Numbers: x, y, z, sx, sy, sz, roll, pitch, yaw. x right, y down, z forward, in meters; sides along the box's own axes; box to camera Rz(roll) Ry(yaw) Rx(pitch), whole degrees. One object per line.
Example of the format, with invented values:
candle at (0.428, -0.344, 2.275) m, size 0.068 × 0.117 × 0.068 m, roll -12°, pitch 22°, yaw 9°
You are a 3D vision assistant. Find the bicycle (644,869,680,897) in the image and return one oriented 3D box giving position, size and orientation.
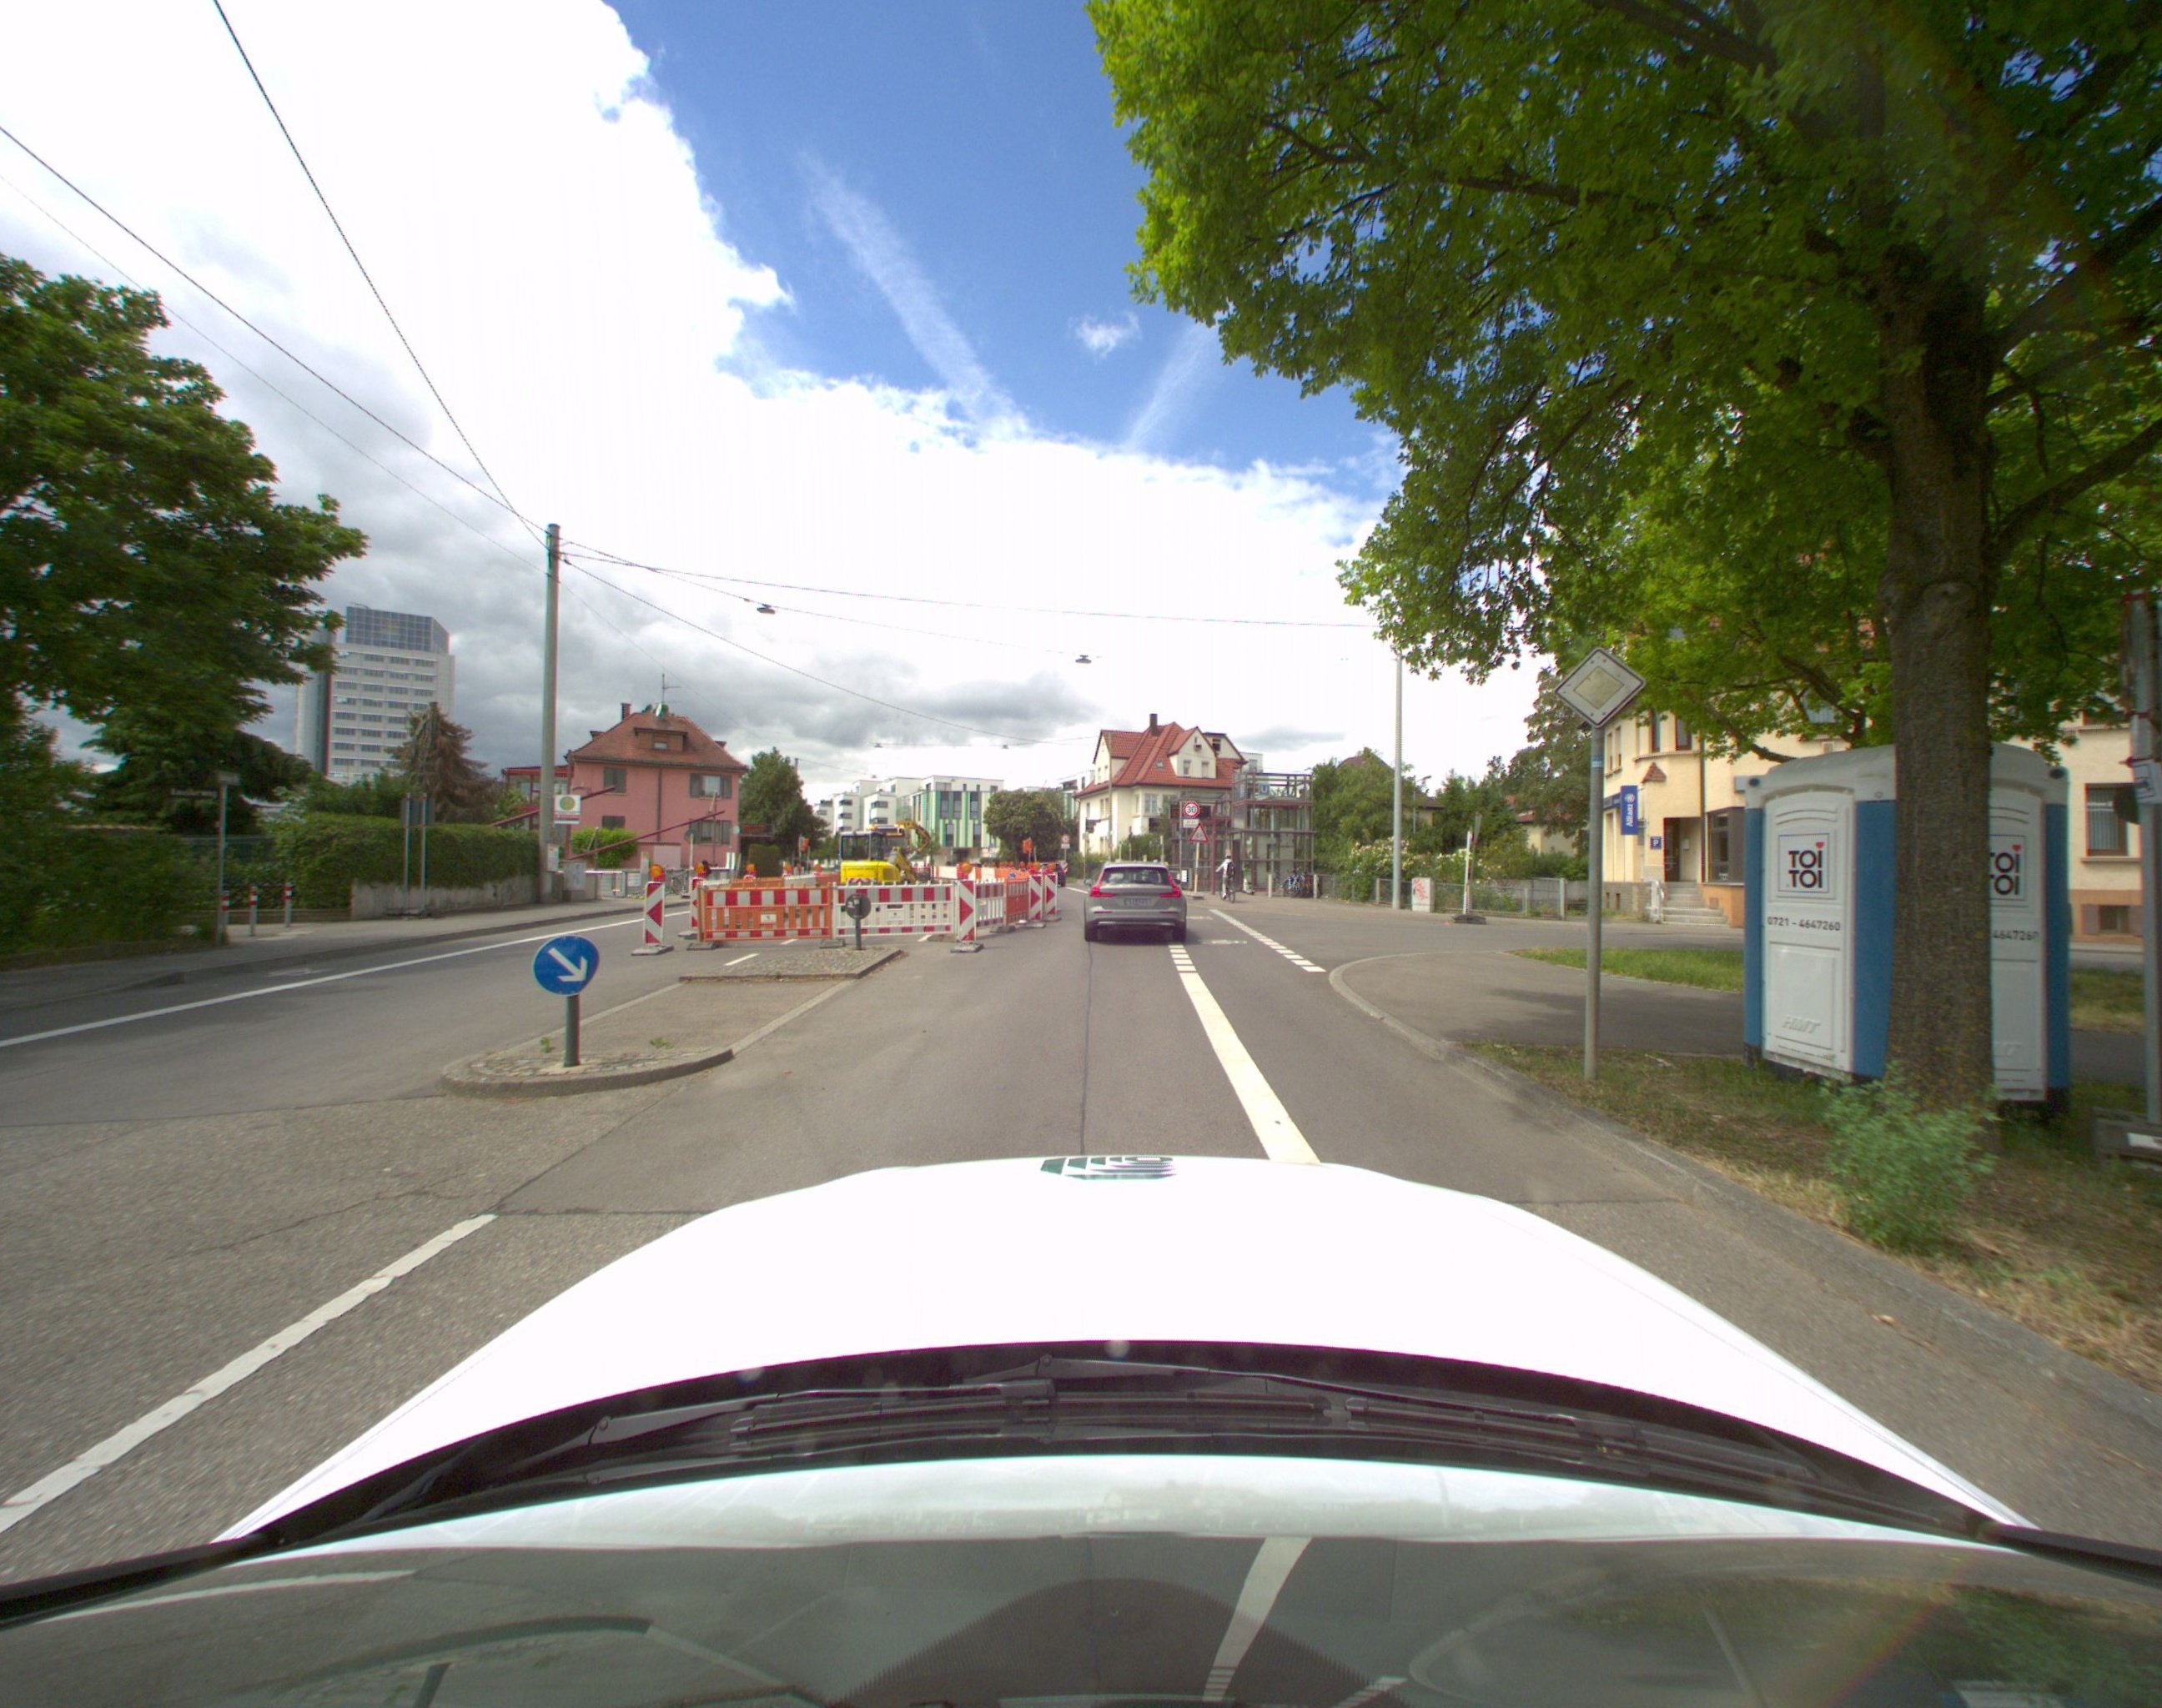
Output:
bicycle at (-17.058, 1.149, 33.175) m, size 0.537 × 1.082 × 2.127 m, roll 0°, pitch -1°, yaw -5°

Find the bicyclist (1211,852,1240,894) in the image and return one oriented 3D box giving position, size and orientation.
bicyclist at (4.999, 0.643, 28.179) m, size 0.656 × 1.416 × 1.175 m, roll 1°, pitch 0°, yaw -8°

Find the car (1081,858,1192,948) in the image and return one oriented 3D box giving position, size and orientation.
car at (0.954, 0.854, 15.926) m, size 1.849 × 1.513 × 3.998 m, roll -1°, pitch -1°, yaw -1°

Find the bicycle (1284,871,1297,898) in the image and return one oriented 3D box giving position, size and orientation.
bicycle at (8.056, 1.146, 31.308) m, size 0.214 × 1.001 × 1.207 m, roll -1°, pitch -1°, yaw 2°

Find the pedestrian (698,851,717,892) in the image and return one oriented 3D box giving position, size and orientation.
pedestrian at (-17.296, 0.809, 37.724) m, size 0.679 × 1.886 × 0.583 m, roll 0°, pitch -1°, yaw -8°

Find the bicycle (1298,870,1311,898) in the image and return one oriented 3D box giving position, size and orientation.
bicycle at (8.586, 1.142, 31.305) m, size 0.214 × 1.009 × 1.190 m, roll 0°, pitch -1°, yaw 2°

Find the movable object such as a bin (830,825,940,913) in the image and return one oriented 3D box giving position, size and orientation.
movable object such as a bin at (-6.495, 0.482, 27.905) m, size 1.986 × 2.626 × 6.525 m, roll -1°, pitch -1°, yaw 2°

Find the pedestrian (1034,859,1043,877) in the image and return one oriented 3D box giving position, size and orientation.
pedestrian at (-3.633, 1.171, 69.907) m, size 0.637 × 1.540 × 0.517 m, roll 0°, pitch -1°, yaw -25°

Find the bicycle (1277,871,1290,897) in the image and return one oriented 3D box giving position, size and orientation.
bicycle at (7.776, 1.146, 31.320) m, size 0.214 × 0.989 × 1.204 m, roll -1°, pitch -1°, yaw 2°

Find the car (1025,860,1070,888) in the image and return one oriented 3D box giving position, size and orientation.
car at (-1.996, 1.163, 47.167) m, size 1.856 × 1.513 × 3.982 m, roll 2°, pitch -1°, yaw -13°

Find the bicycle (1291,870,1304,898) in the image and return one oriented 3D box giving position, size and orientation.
bicycle at (8.321, 1.142, 31.327) m, size 0.214 × 1.014 × 1.170 m, roll -1°, pitch -1°, yaw 2°

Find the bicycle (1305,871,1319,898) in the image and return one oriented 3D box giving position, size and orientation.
bicycle at (8.882, 1.164, 31.292) m, size 0.214 × 1.009 × 1.190 m, roll -1°, pitch -1°, yaw 2°

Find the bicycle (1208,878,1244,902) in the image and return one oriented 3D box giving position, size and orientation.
bicycle at (5.001, 1.235, 28.208) m, size 0.635 × 0.753 × 2.056 m, roll 1°, pitch 0°, yaw -8°

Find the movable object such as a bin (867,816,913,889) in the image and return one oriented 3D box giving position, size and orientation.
movable object such as a bin at (-12.278, -0.009, 52.803) m, size 2.593 × 4.221 × 11.074 m, roll 0°, pitch -1°, yaw -12°

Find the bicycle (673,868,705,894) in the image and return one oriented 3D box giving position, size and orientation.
bicycle at (-17.290, 1.180, 35.951) m, size 0.537 × 1.082 × 2.127 m, roll 0°, pitch -1°, yaw -5°

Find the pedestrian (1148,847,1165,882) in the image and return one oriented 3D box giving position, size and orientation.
pedestrian at (3.543, 0.501, 38.396) m, size 0.597 × 1.583 × 0.400 m, roll 6°, pitch -4°, yaw -8°

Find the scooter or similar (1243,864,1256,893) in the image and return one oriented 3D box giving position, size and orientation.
scooter or similar at (6.693, 0.967, 32.317) m, size 0.215 × 1.111 × 0.944 m, roll 0°, pitch 2°, yaw -6°

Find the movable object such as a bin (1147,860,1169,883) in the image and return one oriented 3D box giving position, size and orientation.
movable object such as a bin at (4.909, 1.121, 51.900) m, size 1.264 × 1.470 × 1.004 m, roll 1°, pitch -1°, yaw -1°
